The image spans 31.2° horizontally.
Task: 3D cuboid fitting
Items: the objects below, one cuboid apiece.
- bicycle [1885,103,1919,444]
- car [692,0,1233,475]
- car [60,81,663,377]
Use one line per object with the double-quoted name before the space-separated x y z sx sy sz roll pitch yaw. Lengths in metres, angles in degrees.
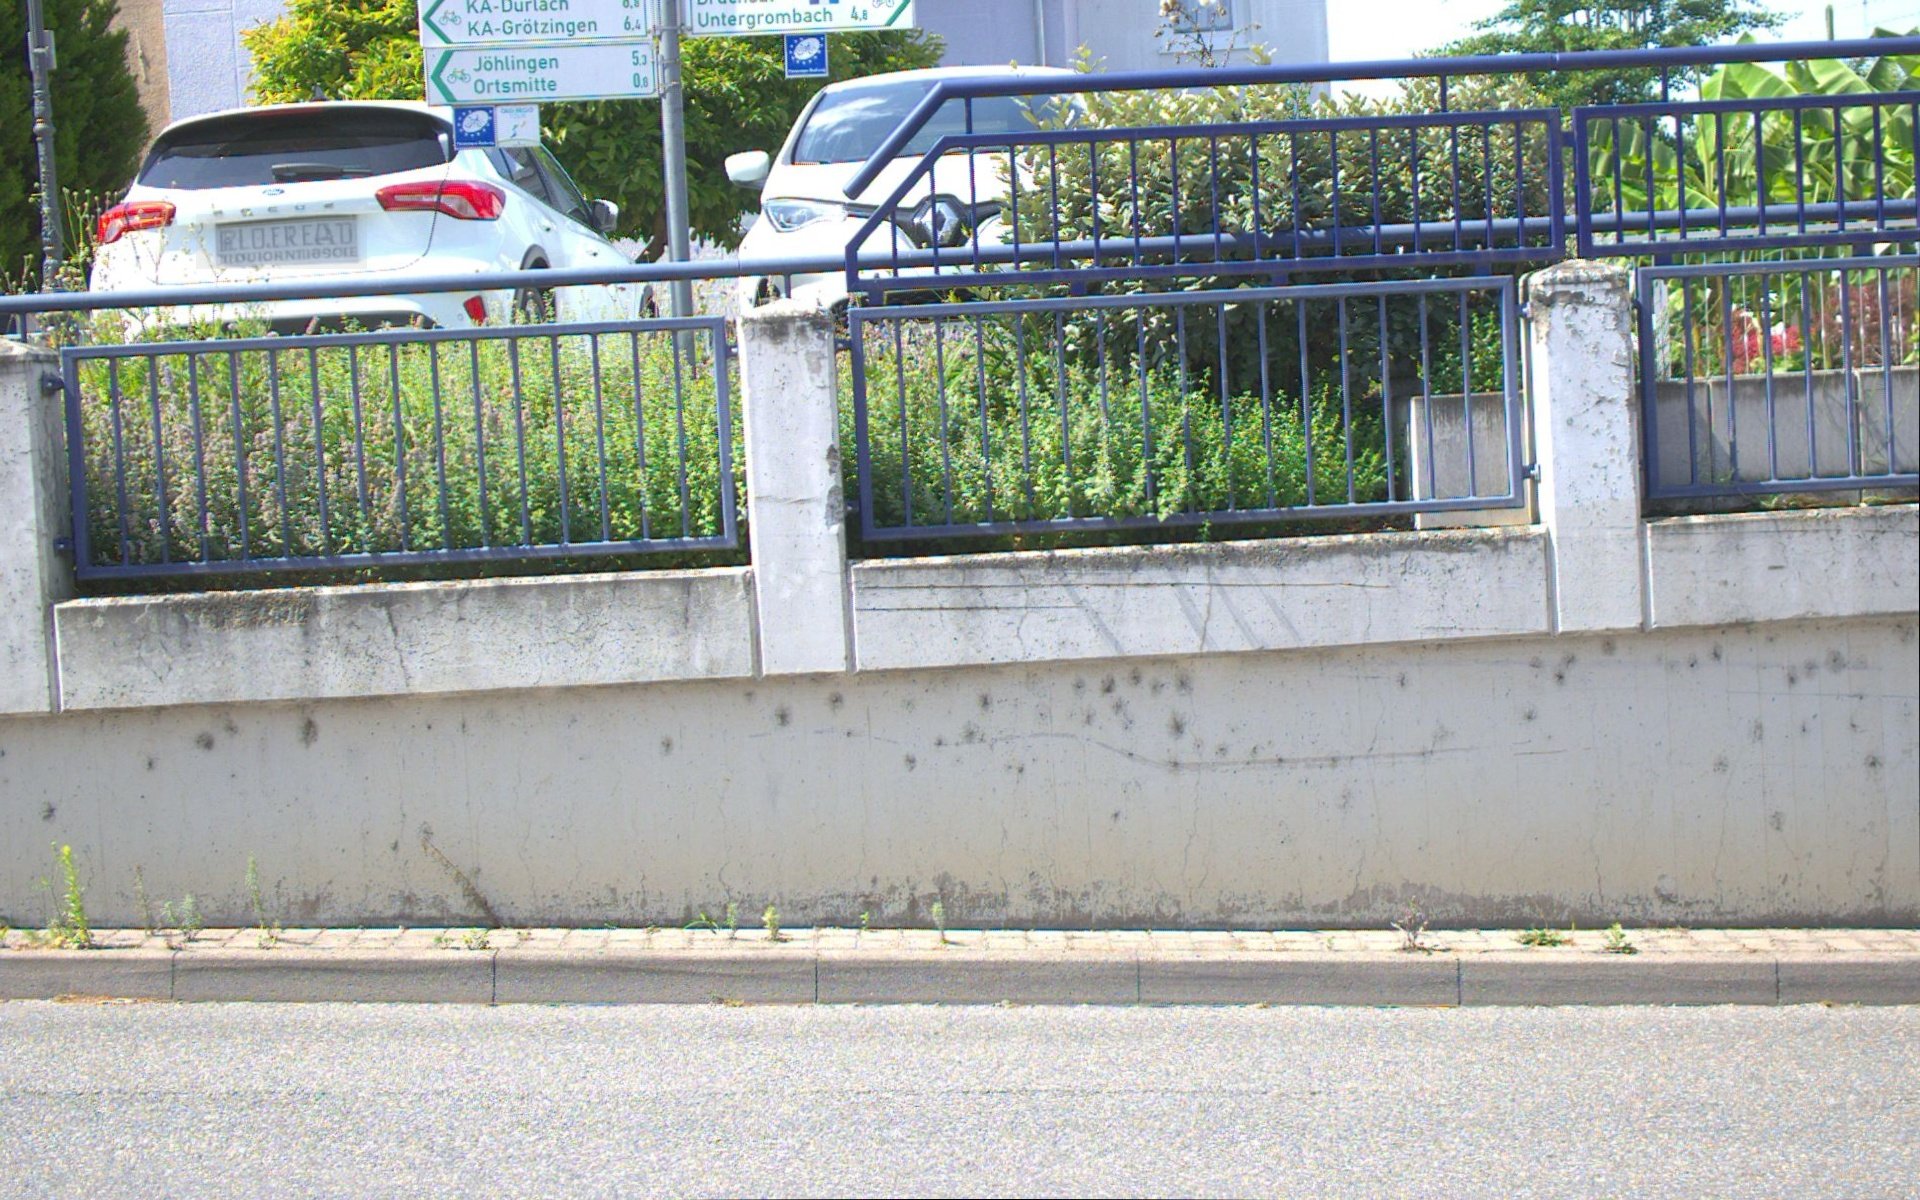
"bicycle" 4.210 -1.127 11.531 2.114 1.122 0.333 -2 4 -2
"car" 0.145 -1.461 14.917 1.994 1.791 4.196 1 2 4
"car" -2.481 -1.554 15.085 1.825 1.016 3.459 1 2 4
